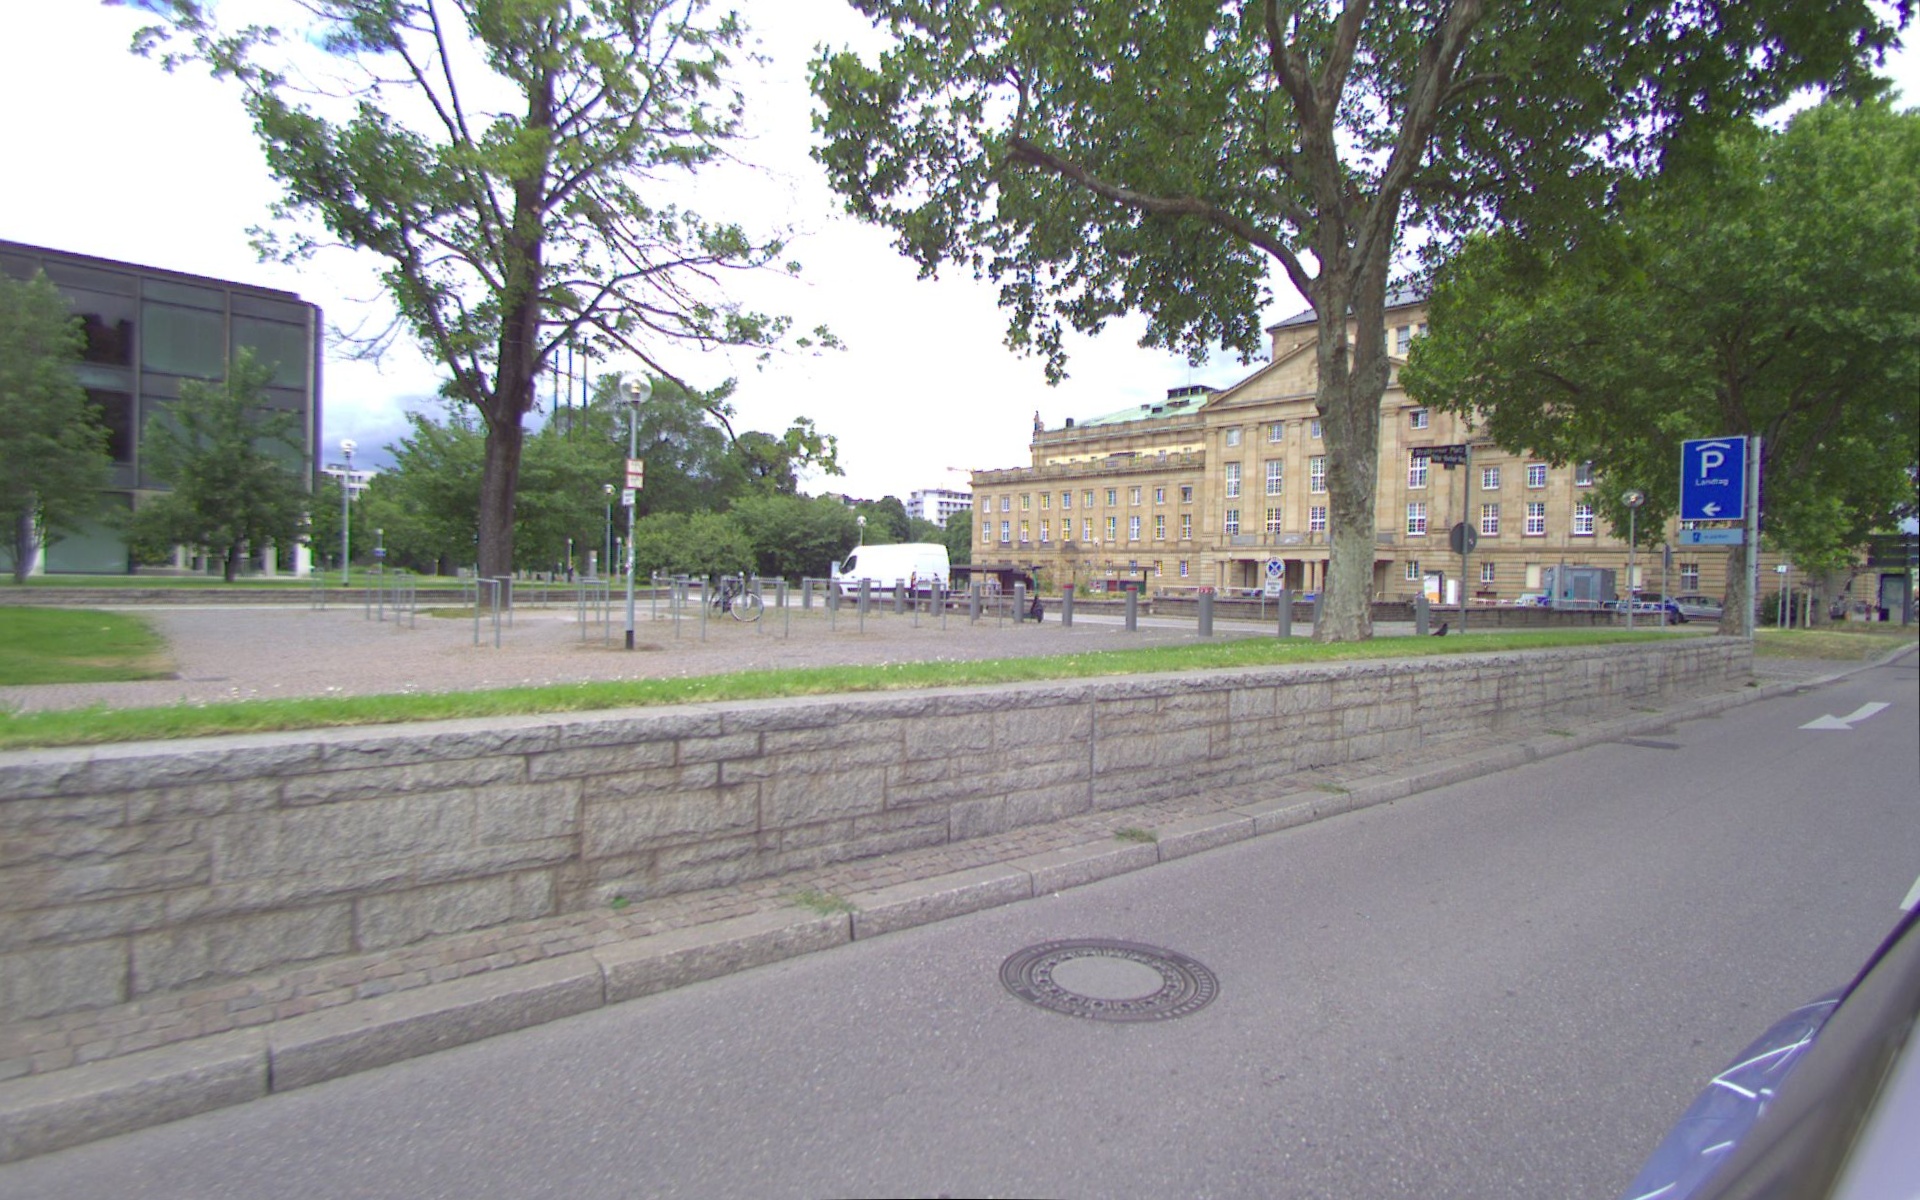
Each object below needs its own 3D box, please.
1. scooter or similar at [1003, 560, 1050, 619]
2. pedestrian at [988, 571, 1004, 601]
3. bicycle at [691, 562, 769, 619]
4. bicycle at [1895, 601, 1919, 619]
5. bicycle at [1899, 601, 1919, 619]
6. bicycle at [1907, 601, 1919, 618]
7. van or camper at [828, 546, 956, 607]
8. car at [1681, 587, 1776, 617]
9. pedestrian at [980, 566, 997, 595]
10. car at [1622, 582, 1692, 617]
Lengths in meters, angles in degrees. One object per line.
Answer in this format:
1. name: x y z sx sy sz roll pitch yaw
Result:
1. scooter or similar: 1.466 -0.243 22.421 0.716 1.262 0.717 -1 4 -43
2. pedestrian: 2.548 -0.985 71.119 0.799 2.039 0.768 -1 0 -27
3. bicycle: -4.964 -0.226 21.733 0.674 1.155 2.196 1 1 -41
4. bicycle: 60.821 0.634 64.412 1.910 1.112 0.533 2 1 40
5. bicycle: 61.382 0.661 64.783 1.833 1.086 0.610 2 1 40
6. bicycle: 62.260 0.648 65.169 1.832 1.086 0.524 2 1 40
7. van or camper: -2.888 -0.975 41.974 2.281 2.348 5.705 -2 2 -42
8. car: 42.754 0.139 56.374 1.706 1.616 3.990 -1 0 -43
9. pedestrian: 2.038 -1.398 72.027 0.799 2.039 0.859 -1 0 -29
10. car: 33.446 -0.006 48.519 4.143 1.537 1.767 2 0 -41
